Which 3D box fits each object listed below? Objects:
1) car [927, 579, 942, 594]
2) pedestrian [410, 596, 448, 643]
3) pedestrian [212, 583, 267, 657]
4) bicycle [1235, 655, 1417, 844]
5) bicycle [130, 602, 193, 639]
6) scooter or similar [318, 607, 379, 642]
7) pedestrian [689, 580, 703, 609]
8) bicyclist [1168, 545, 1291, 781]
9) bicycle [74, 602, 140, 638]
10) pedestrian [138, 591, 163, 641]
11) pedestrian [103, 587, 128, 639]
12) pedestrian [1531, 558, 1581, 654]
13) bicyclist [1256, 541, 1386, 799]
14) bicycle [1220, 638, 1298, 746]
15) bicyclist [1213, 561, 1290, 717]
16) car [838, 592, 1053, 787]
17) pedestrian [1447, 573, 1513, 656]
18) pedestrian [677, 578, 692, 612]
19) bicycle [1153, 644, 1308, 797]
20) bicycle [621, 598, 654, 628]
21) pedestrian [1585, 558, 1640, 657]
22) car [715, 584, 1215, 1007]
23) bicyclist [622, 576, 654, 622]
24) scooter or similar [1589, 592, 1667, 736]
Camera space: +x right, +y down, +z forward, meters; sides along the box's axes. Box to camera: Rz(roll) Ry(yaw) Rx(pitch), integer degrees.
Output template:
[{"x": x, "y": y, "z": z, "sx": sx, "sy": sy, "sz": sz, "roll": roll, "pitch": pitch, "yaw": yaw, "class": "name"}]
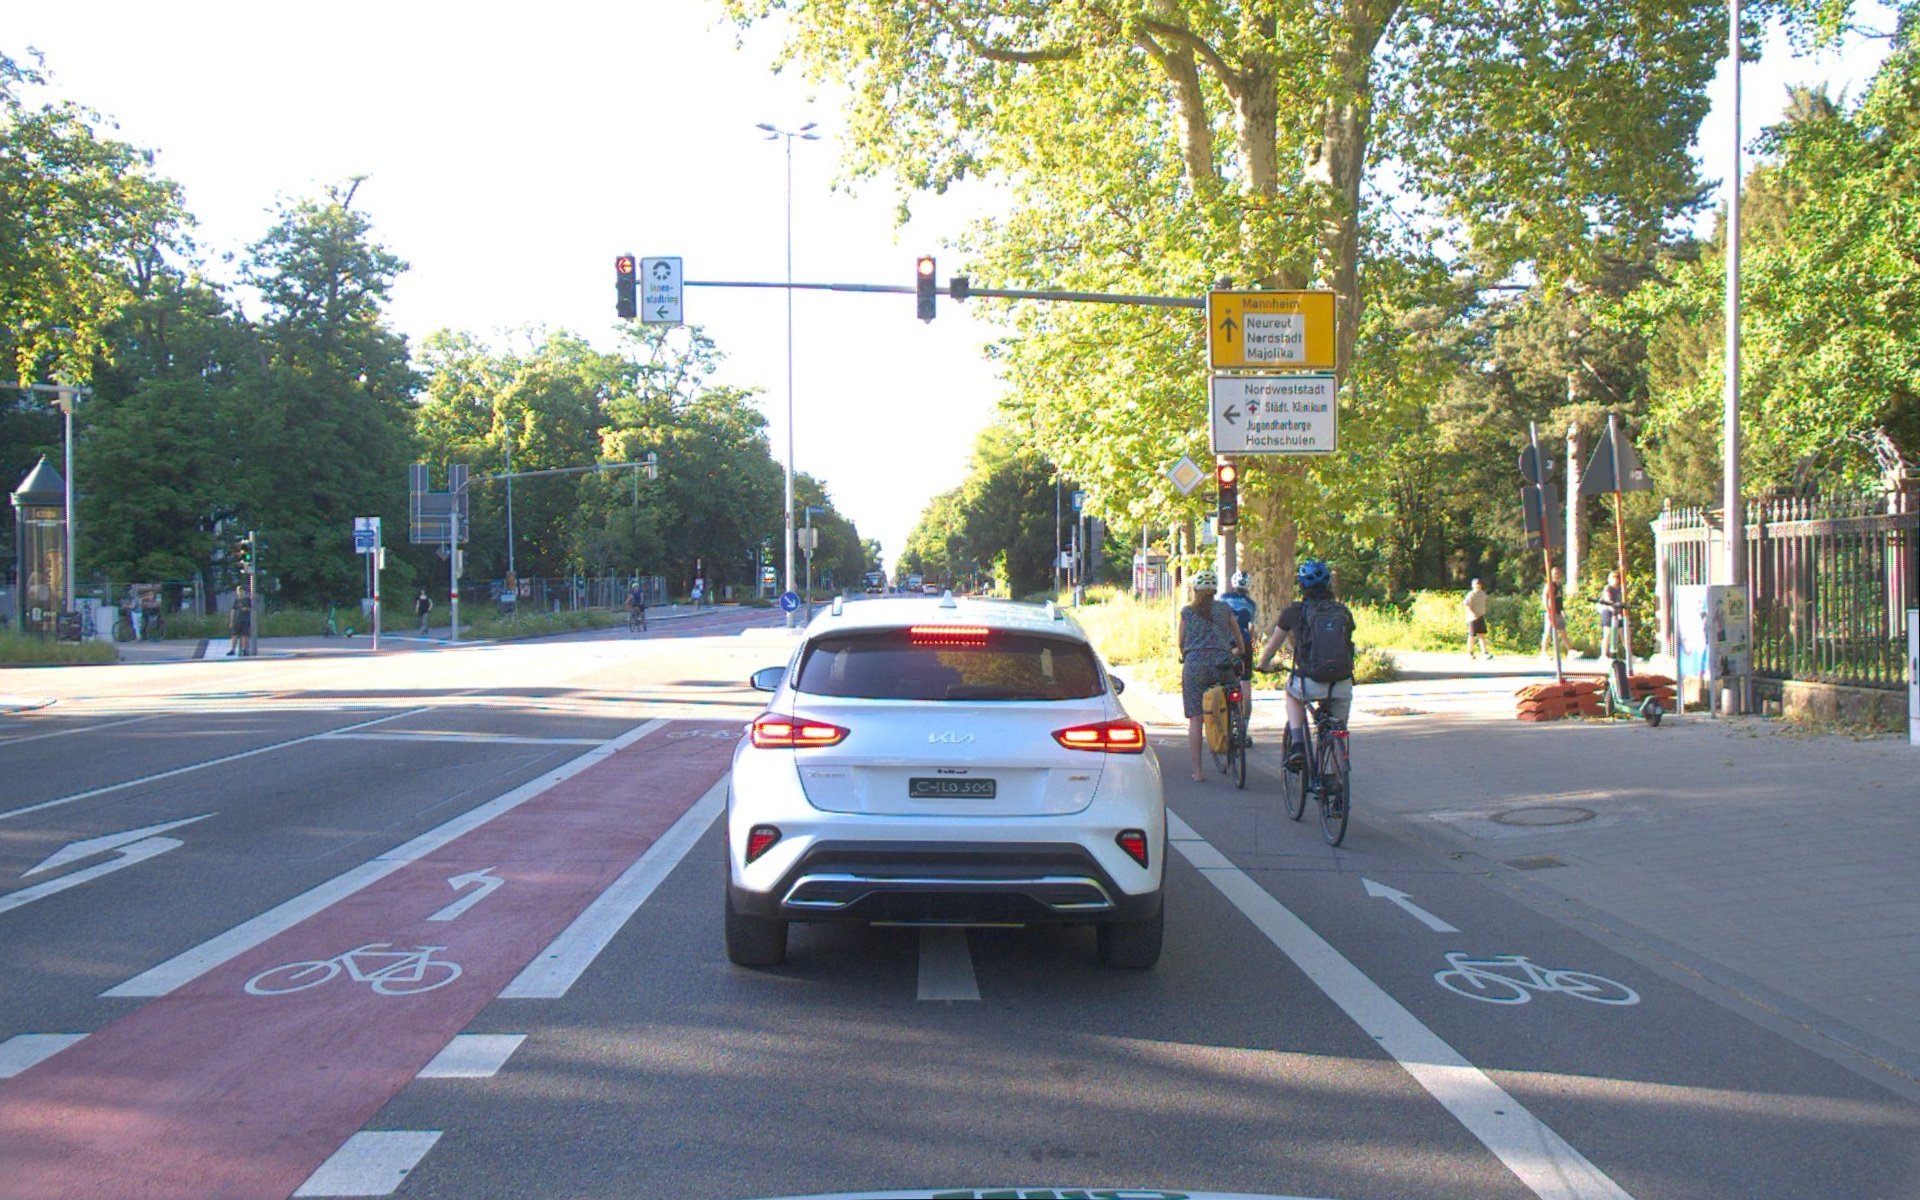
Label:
[{"x": -3.453, "y": -1.844, "z": 224.546, "sx": 1.953, "sy": 2.049, "sz": 3.999, "roll": -1, "pitch": 1, "yaw": -1, "class": "car"}, {"x": -18.880, "y": 0.678, "z": 58.812, "sx": 1.067, "sy": 1.631, "sz": 0.999, "roll": -1, "pitch": 0, "yaw": -7, "class": "pedestrian"}, {"x": -20.425, "y": 0.558, "z": 46.917, "sx": 0.974, "sy": 2.049, "sz": 1.191, "roll": 0, "pitch": 0, "yaw": 4, "class": "pedestrian"}, {"x": 2.351, "y": 0.927, "z": 10.887, "sx": 0.655, "sy": 1.027, "sz": 2.080, "roll": 1, "pitch": 1, "yaw": -2, "class": "bicycle"}, {"x": -25.889, "y": 0.663, "z": 53.623, "sx": 1.826, "sy": 1.168, "sz": 0.290, "roll": 0, "pitch": 0, "yaw": -8, "class": "bicycle"}, {"x": -20.746, "y": 0.829, "z": 56.147, "sx": 0.697, "sy": 1.144, "sz": 1.916, "roll": 0, "pitch": 0, "yaw": 32, "class": "scooter or similar"}, {"x": -16.284, "y": -0.328, "z": 102.036, "sx": 0.769, "sy": 1.817, "sz": 0.751, "roll": 0, "pitch": 0, "yaw": 0, "class": "pedestrian"}, {"x": 2.183, "y": 0.487, "z": 13.524, "sx": 0.738, "sy": 1.827, "sz": 1.164, "roll": 1, "pitch": 0, "yaw": -2, "class": "bicyclist"}, {"x": -27.780, "y": 0.642, "z": 53.873, "sx": 1.826, "sy": 1.168, "sz": 0.442, "roll": 0, "pitch": 0, "yaw": -8, "class": "bicycle"}, {"x": -26.066, "y": 0.516, "z": 53.242, "sx": 0.617, "sy": 1.608, "sz": 0.444, "roll": 0, "pitch": 0, "yaw": -11, "class": "pedestrian"}, {"x": -27.332, "y": 0.426, "z": 53.538, "sx": 0.617, "sy": 1.671, "sz": 0.444, "roll": 0, "pitch": 0, "yaw": -11, "class": "pedestrian"}, {"x": 11.377, "y": 0.114, "z": 31.591, "sx": 0.800, "sy": 1.802, "sz": 0.833, "roll": -1, "pitch": 0, "yaw": 15, "class": "pedestrian"}, {"x": 2.356, "y": 0.444, "z": 10.861, "sx": 0.652, "sy": 1.630, "sz": 0.720, "roll": 1, "pitch": 0, "yaw": -2, "class": "bicyclist"}, {"x": 2.985, "y": 0.900, "z": 16.632, "sx": 0.393, "sy": 0.973, "sz": 1.550, "roll": -3, "pitch": 0, "yaw": -2, "class": "bicycle"}, {"x": 2.922, "y": 0.383, "z": 16.615, "sx": 0.543, "sy": 1.504, "sz": 0.716, "roll": -3, "pitch": 0, "yaw": -2, "class": "bicyclist"}, {"x": -0.184, "y": 0.705, "z": 14.996, "sx": 1.694, "sy": 1.509, "sz": 3.515, "roll": -1, "pitch": 1, "yaw": -3, "class": "car"}, {"x": 9.811, "y": 0.275, "z": 31.233, "sx": 0.805, "sy": 1.544, "sz": 0.912, "roll": 0, "pitch": 0, "yaw": -18, "class": "pedestrian"}, {"x": -17.103, "y": -0.312, "z": 102.748, "sx": 0.627, "sy": 2.049, "sz": 0.754, "roll": 0, "pitch": 0, "yaw": 14, "class": "pedestrian"}, {"x": 2.168, "y": 0.936, "z": 13.630, "sx": 0.742, "sy": 1.031, "sz": 2.568, "roll": 1, "pitch": 1, "yaw": -2, "class": "bicycle"}, {"x": -11.799, "y": 0.468, "z": 60.551, "sx": 0.650, "sy": 1.006, "sz": 2.504, "roll": -1, "pitch": 1, "yaw": 1, "class": "bicycle"}, {"x": 11.716, "y": 0.130, "z": 29.718, "sx": 0.676, "sy": 1.729, "sz": 0.643, "roll": -1, "pitch": 0, "yaw": -7, "class": "pedestrian"}, {"x": -0.051, "y": 0.692, "z": 7.926, "sx": 1.785, "sy": 1.506, "sz": 3.934, "roll": 1, "pitch": 1, "yaw": -2, "class": "car"}, {"x": -11.808, "y": -0.035, "z": 60.662, "sx": 0.857, "sy": 1.636, "sz": 1.188, "roll": -1, "pitch": 0, "yaw": 1, "class": "bicyclist"}, {"x": 6.529, "y": 0.598, "z": 16.192, "sx": 0.223, "sy": 1.350, "sz": 1.171, "roll": -1, "pitch": 0, "yaw": -2, "class": "scooter or similar"}]
